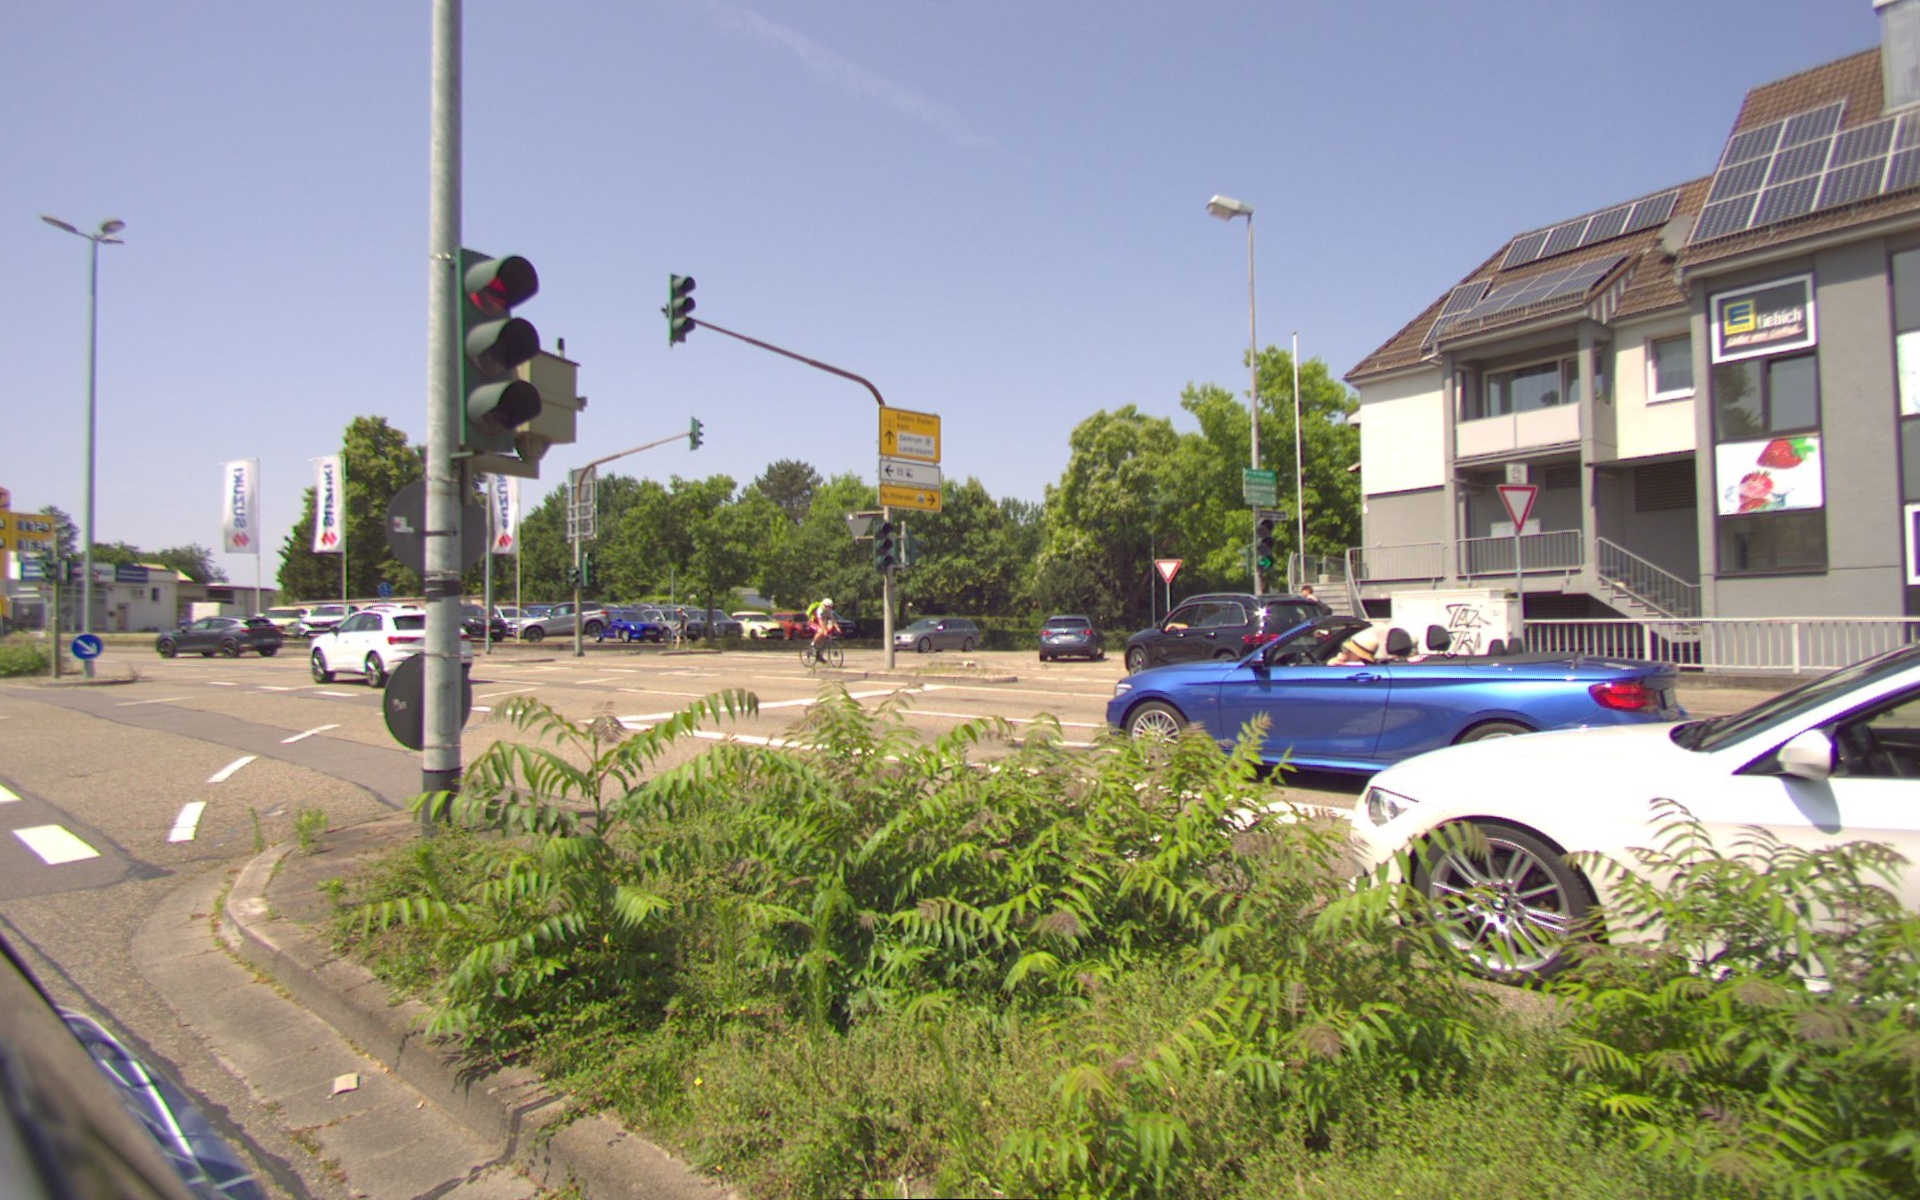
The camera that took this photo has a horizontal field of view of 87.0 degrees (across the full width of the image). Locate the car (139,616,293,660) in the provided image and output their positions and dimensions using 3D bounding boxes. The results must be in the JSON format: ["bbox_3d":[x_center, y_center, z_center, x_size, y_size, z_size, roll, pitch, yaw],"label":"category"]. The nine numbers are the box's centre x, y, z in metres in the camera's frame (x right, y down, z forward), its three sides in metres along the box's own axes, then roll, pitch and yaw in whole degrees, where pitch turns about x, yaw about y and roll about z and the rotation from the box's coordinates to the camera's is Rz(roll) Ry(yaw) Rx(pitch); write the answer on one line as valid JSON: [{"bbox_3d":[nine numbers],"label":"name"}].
[{"bbox_3d":[-27.205,1.385,37.078,4.389,1.496,1.999,-1,0,8],"label":"car"}]

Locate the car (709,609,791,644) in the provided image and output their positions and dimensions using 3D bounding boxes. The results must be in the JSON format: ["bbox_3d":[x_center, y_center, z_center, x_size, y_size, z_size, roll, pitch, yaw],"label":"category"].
[{"bbox_3d":[-10.792,1.338,51.953,3.990,1.720,1.885,-1,0,35],"label":"car"}]

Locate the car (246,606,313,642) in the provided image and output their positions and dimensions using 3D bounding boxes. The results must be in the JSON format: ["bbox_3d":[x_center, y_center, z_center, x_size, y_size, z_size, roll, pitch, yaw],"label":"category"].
[{"bbox_3d":[-30.877,1.069,46.032,1.727,1.521,3.833,-1,0,-21],"label":"car"}]

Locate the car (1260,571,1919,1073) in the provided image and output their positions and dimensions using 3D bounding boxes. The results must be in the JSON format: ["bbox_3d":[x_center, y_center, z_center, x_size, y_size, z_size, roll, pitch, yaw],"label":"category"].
[{"bbox_3d":[3.637,0.622,3.341,4.744,1.442,1.843,-1,-1,43],"label":"car"}]

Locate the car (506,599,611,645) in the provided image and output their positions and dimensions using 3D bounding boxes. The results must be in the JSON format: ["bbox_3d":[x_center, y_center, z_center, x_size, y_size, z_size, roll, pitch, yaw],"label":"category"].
[{"bbox_3d":[-17.753,0.974,44.902,4.235,1.916,1.835,1,0,-20],"label":"car"}]

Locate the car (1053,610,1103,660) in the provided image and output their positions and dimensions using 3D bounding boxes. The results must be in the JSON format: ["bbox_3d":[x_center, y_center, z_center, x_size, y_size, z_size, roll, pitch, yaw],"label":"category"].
[{"bbox_3d":[3.773,1.114,31.934,1.478,1.460,4.260,0,-2,8],"label":"car"}]

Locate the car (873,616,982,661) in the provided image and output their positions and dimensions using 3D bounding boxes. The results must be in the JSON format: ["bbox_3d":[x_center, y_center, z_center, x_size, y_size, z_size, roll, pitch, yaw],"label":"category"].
[{"bbox_3d":[-1.272,1.511,41.531,1.761,1.622,4.698,-1,0,41],"label":"car"}]

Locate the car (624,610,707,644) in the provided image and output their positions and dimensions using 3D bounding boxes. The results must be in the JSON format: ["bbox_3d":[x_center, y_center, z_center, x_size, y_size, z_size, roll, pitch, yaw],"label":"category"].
[{"bbox_3d":[-14.262,1.266,48.932,3.990,1.548,1.775,-1,0,35],"label":"car"}]

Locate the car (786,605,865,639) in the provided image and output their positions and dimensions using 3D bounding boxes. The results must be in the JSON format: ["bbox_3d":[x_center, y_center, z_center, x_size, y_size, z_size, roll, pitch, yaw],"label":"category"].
[{"bbox_3d":[-7.390,1.160,55.507,3.990,1.763,1.977,-1,0,35],"label":"car"}]

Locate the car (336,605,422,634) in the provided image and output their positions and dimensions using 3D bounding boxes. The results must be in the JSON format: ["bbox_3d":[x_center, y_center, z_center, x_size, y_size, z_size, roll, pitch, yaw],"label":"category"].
[{"bbox_3d":[-35.188,1.165,61.332,4.711,1.662,1.687,-1,-1,14],"label":"car"}]

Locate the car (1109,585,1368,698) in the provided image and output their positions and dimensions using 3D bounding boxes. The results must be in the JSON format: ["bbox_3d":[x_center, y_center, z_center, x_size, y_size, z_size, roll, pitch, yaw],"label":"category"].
[{"bbox_3d":[4.618,0.683,17.601,1.965,1.669,4.608,2,-2,-21],"label":"car"}]

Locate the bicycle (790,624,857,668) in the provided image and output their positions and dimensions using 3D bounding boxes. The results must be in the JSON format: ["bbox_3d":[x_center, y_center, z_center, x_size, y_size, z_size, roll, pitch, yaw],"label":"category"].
[{"bbox_3d":[-3.455,1.157,25.535,1.782,1.062,0.417,-2,-1,30],"label":"bicycle"}]

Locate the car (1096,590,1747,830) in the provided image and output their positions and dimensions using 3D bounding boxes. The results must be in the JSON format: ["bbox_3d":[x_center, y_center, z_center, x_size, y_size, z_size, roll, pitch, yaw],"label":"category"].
[{"bbox_3d":[3.416,0.676,8.029,4.346,1.376,1.843,-2,0,42],"label":"car"}]

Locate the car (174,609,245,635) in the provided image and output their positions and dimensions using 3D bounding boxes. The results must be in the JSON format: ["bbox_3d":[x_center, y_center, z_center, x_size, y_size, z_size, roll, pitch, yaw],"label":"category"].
[{"bbox_3d":[-46.230,1.358,62.344,3.598,1.517,1.686,-1,-1,16],"label":"car"}]

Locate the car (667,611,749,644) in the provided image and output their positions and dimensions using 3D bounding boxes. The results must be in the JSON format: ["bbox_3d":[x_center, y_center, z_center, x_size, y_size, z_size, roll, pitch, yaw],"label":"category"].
[{"bbox_3d":[-12.575,1.335,50.446,3.989,1.582,1.820,-1,-2,34],"label":"car"}]

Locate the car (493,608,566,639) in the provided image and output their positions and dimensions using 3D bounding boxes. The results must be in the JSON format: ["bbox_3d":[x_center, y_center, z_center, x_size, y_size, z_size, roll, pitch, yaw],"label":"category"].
[{"bbox_3d":[-23.111,1.248,54.295,3.990,1.548,1.775,-1,0,35],"label":"car"}]

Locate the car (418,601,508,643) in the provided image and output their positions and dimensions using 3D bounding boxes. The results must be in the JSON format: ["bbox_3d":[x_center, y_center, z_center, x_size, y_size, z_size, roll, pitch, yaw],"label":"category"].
[{"bbox_3d":[-22.037,0.945,44.862,4.003,1.737,1.825,0,0,33],"label":"car"}]

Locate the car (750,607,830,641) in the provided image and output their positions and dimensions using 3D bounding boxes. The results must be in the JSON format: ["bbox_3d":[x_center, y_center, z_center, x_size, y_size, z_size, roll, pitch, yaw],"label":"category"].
[{"bbox_3d":[-8.999,1.248,53.464,3.990,1.696,1.847,-1,0,35],"label":"car"}]

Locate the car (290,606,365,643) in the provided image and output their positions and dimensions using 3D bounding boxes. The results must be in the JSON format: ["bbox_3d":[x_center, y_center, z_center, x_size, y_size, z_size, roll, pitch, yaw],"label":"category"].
[{"bbox_3d":[-28.335,1.063,45.467,1.886,1.552,3.974,-1,0,-17],"label":"car"}]

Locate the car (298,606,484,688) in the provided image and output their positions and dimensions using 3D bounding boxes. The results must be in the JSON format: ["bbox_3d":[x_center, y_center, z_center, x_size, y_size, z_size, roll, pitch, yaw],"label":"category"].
[{"bbox_3d":[-12.228,0.945,21.627,4.548,1.582,1.800,-1,-1,37],"label":"car"}]

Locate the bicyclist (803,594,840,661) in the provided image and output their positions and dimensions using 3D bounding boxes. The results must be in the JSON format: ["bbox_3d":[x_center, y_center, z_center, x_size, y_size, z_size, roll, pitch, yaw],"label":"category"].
[{"bbox_3d":[-3.501,0.695,25.560,0.817,1.655,0.418,-2,0,30],"label":"bicyclist"}]

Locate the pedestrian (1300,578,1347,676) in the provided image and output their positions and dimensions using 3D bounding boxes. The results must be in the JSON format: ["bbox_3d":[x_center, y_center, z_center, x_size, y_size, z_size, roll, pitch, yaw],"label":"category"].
[{"bbox_3d":[7.680,0.573,21.378,0.741,2.029,0.498,-3,-1,36],"label":"pedestrian"}]

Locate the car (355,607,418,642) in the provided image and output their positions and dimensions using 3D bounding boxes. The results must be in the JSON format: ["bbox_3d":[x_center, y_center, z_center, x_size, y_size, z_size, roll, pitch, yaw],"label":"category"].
[{"bbox_3d":[-25.460,1.054,45.055,1.687,1.443,3.975,1,0,-18],"label":"car"}]

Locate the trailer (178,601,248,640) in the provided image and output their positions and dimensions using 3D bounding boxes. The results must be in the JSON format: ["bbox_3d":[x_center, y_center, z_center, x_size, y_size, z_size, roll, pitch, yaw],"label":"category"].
[{"bbox_3d":[-34.711,0.942,47.088,1.666,1.717,2.439,-1,0,-9],"label":"trailer"}]
